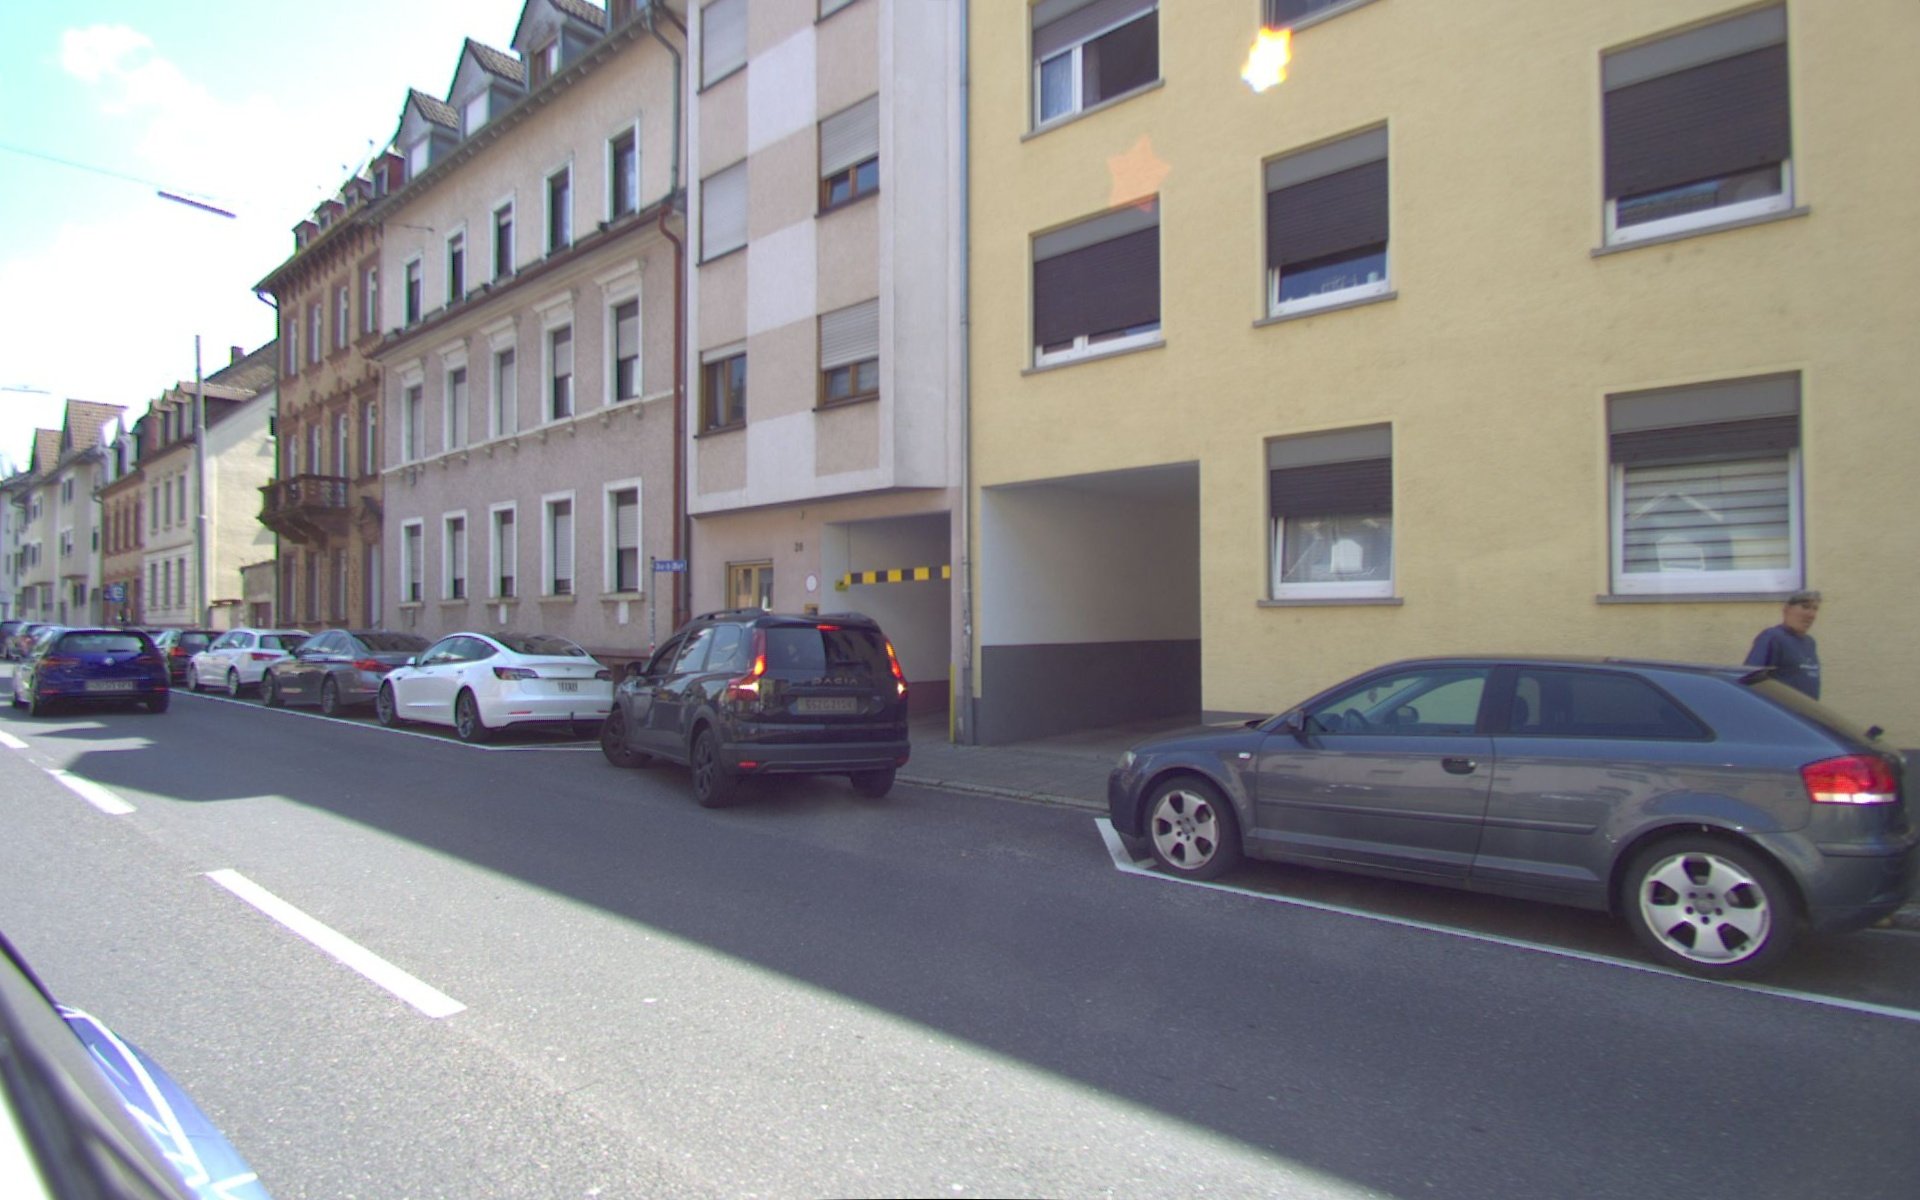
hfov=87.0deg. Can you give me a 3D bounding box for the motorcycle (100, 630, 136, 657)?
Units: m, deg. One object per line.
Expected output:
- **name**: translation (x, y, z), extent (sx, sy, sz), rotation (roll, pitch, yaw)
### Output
- **motorcycle**: translation (-35.664, 1.816, 42.882), extent (1.870, 1.086, 0.837), rotation (-1, 0, 40)

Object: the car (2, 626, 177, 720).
- **car**: translation (-14.907, 1.181, 17.264), extent (4.000, 1.399, 1.796), rotation (-2, -4, 43)

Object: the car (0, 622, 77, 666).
- **car**: translation (-37.131, 1.754, 40.540), extent (4.498, 1.609, 1.821), rotation (-1, -5, 39)

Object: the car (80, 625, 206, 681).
- **car**: translation (-23.854, 1.522, 29.496), extent (4.496, 1.433, 1.822), rotation (-1, -6, 38)

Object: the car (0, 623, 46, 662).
- **car**: translation (-41.309, 1.816, 43.853), extent (4.498, 1.609, 1.821), rotation (-1, -3, 39)

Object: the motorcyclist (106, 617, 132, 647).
- **motorcyclist**: translation (-35.696, 1.358, 42.944), extent (0.711, 1.257, 0.711), rotation (-1, -2, 39)

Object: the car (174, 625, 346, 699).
- **car**: translation (-15.434, 1.309, 22.236), extent (4.496, 1.433, 1.822), rotation (-1, -4, 38)

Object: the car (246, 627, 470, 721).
- **car**: translation (-10.722, 1.238, 17.902), extent (4.640, 1.433, 1.822), rotation (-1, -4, 38)

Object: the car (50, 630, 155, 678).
- **car**: translation (-28.284, 1.740, 33.332), extent (4.498, 1.433, 1.821), rotation (-1, -3, 39)

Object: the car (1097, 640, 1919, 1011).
- **car**: translation (3.012, 0.965, 5.803), extent (4.059, 1.390, 1.885), rotation (-1, -4, 41)

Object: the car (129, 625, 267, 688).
- **car**: translation (-19.392, 1.409, 25.690), extent (4.500, 1.433, 1.820), rotation (-1, -5, 41)

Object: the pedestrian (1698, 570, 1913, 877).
- **pedestrian**: translation (5.447, 0.726, 6.577), extent (0.968, 1.763, 1.140), rotation (-1, -2, 39)

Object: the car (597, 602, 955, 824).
- **car**: translation (-2.066, 0.952, 10.020), extent (1.878, 1.650, 4.570), rotation (3, -3, -32)

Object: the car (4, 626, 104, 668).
- **car**: translation (-33.405, 1.736, 37.288), extent (4.494, 1.433, 1.823), rotation (-1, -4, 37)

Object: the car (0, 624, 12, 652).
- **car**: translation (-54.388, 2.114, 56.249), extent (4.381, 1.499, 1.822), rotation (-1, 1, 38)

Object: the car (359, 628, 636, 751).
- **car**: translation (-6.657, 1.178, 14.340), extent (4.556, 1.433, 1.820), rotation (-1, -4, 41)
